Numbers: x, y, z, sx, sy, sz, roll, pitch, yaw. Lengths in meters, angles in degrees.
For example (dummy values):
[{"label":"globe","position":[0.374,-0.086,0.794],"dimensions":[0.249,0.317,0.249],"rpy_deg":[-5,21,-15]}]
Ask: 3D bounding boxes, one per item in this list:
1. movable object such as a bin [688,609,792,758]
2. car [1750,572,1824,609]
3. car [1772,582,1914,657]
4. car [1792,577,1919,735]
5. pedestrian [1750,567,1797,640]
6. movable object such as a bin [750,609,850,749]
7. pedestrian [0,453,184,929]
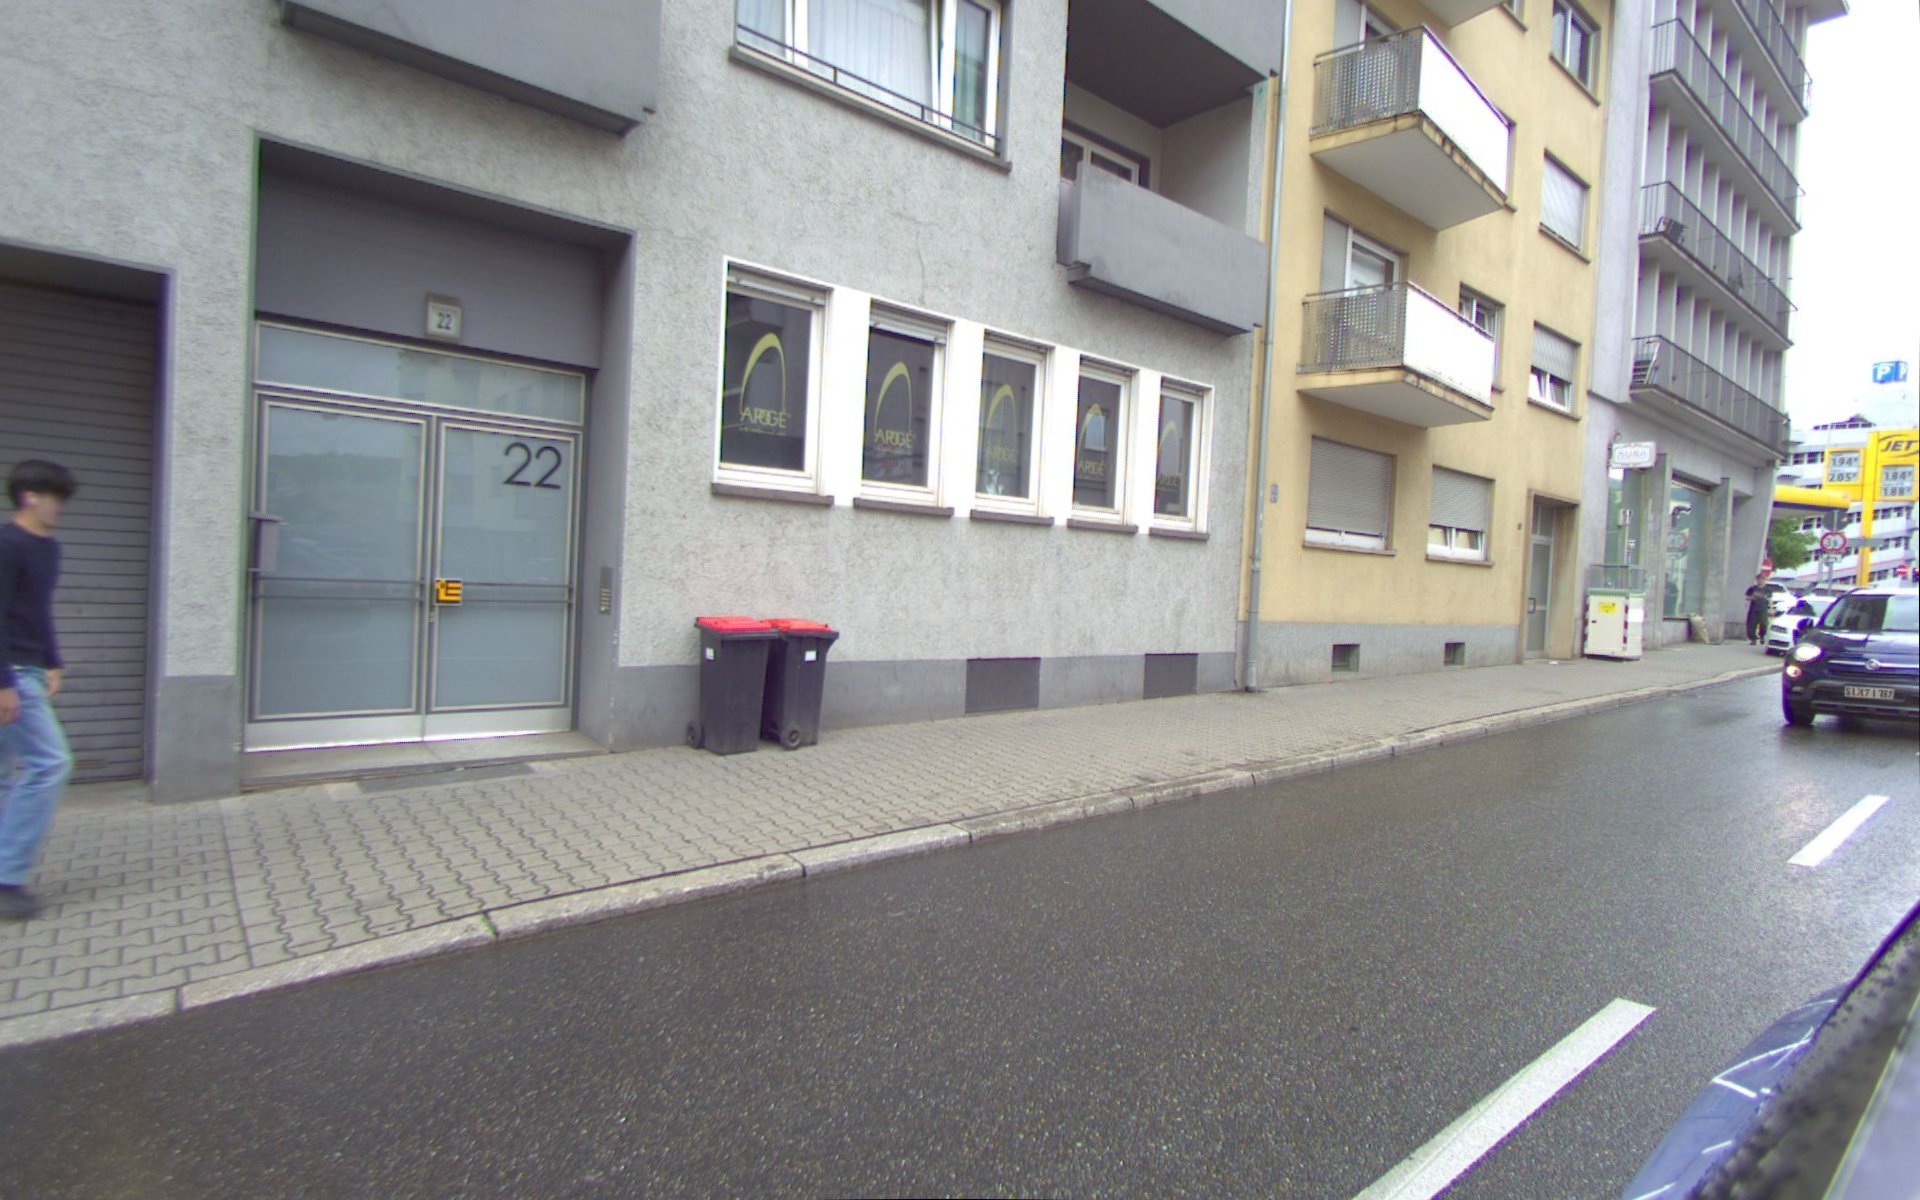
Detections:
[{"label":"movable object such as a bin","position":[-1.591,0.578,7.294],"dimensions":[0.506,0.967,0.541],"rpy_deg":[0,5,-40]},{"label":"car","position":[34.897,-0.390,42.800],"dimensions":[1.757,1.492,3.958],"rpy_deg":[0,0,30]},{"label":"car","position":[20.093,0.383,22.981],"dimensions":[4.093,1.453,1.803],"rpy_deg":[0,4,-41]},{"label":"car","position":[11.222,0.567,11.742],"dimensions":[3.930,1.600,1.770],"rpy_deg":[0,2,-41]},{"label":"pedestrian","position":[20.606,0.081,25.641],"dimensions":[0.872,1.777,0.679],"rpy_deg":[0,2,-39]},{"label":"movable object such as a bin","position":[-1.214,0.572,7.666],"dimensions":[0.506,0.961,0.541],"rpy_deg":[0,5,-40]},{"label":"pedestrian","position":[-3.793,0.325,4.053],"dimensions":[1.038,1.799,0.644],"rpy_deg":[0,5,-41]}]
